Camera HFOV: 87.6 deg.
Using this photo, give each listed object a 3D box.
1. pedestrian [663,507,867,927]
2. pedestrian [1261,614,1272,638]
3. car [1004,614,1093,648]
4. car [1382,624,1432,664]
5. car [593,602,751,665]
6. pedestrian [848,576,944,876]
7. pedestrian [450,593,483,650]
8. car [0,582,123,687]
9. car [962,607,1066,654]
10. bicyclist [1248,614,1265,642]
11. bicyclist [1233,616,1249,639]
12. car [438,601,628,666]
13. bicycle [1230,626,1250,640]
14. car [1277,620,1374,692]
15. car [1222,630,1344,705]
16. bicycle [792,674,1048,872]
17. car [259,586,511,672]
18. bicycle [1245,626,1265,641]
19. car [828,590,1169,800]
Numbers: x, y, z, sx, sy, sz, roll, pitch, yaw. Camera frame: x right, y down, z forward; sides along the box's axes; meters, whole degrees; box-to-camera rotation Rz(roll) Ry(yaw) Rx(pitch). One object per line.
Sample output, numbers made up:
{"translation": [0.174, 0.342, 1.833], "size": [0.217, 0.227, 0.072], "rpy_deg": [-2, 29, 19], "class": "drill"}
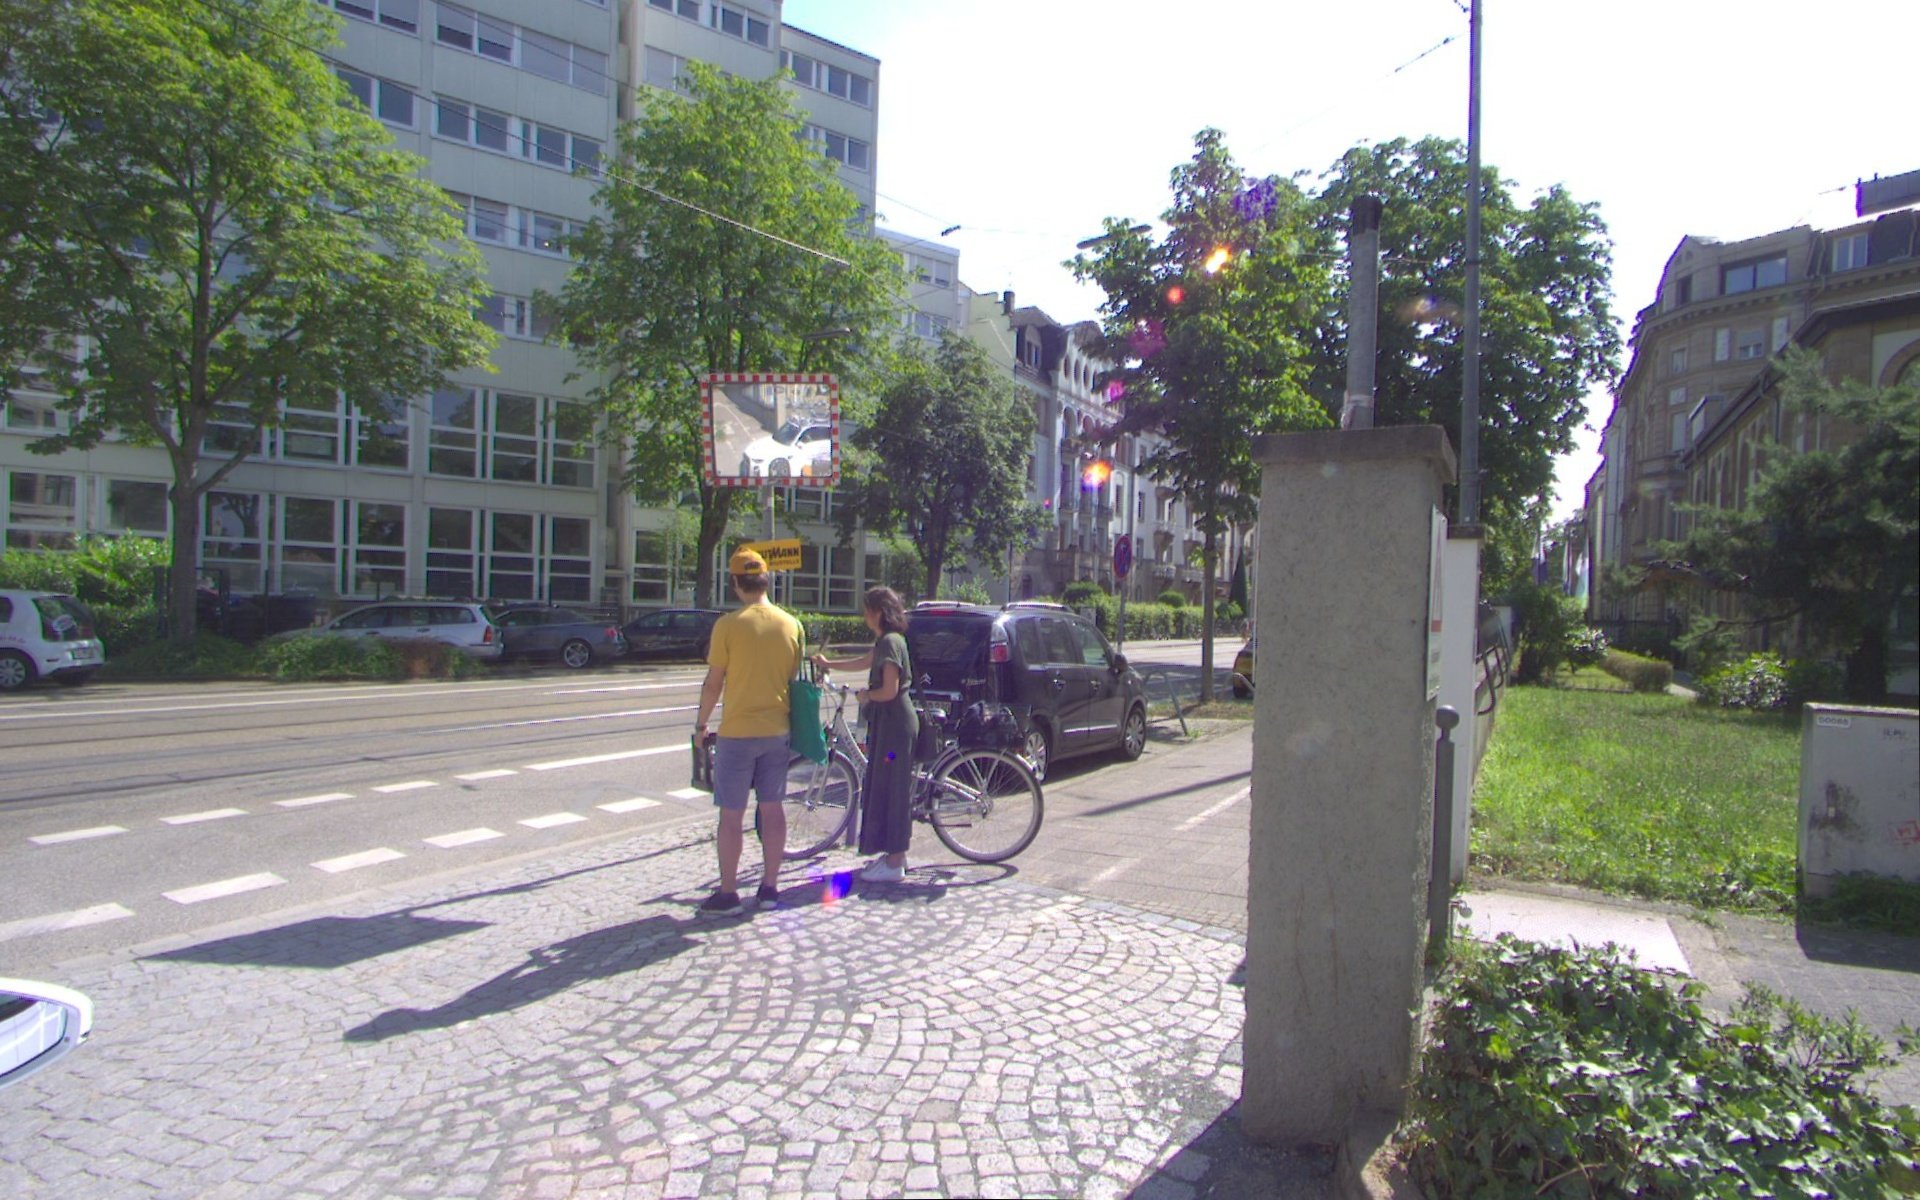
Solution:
{"translation": [-1.007, 0.545, 5.048], "size": [0.840, 1.889, 0.827], "rpy_deg": [2, 0, -21], "class": "pedestrian"}
{"translation": [24.973, 2.101, 81.518], "size": [0.680, 1.958, 0.785], "rpy_deg": [2, 0, 28], "class": "pedestrian"}
{"translation": [4.328, 1.514, 49.204], "size": [3.929, 1.528, 1.997], "rpy_deg": [2, -1, -16], "class": "car"}
{"translation": [20.842, 2.020, 46.627], "size": [1.828, 1.702, 3.984], "rpy_deg": [1, -1, 28], "class": "car"}
{"translation": [-7.559, 0.885, 26.454], "size": [3.875, 1.505, 1.556], "rpy_deg": [2, 0, -16], "class": "car"}
{"translation": [-0.360, 0.701, 5.743], "size": [0.445, 1.642, 0.422], "rpy_deg": [-1, -1, 12], "class": "pedestrian"}
{"translation": [-13.032, 0.557, 26.455], "size": [0.417, 1.480, 0.620], "rpy_deg": [2, 0, 27], "class": "pedestrian"}
{"translation": [-15.159, 0.484, 14.856], "size": [3.874, 1.505, 1.610], "rpy_deg": [1, 0, -15], "class": "car"}
{"translation": [2.286, 1.279, 42.545], "size": [3.935, 1.884, 1.993], "rpy_deg": [2, 0, -23], "class": "car"}
{"translation": [20.062, 1.892, 67.756], "size": [0.793, 1.825, 0.860], "rpy_deg": [2, 0, 33], "class": "bicyclist"}
{"translation": [19.149, 1.866, 68.232], "size": [0.793, 1.563, 0.860], "rpy_deg": [2, 0, 33], "class": "bicyclist"}
{"translation": [-9.896, 0.783, 23.495], "size": [3.875, 1.375, 1.556], "rpy_deg": [2, 0, -16], "class": "car"}
{"translation": [19.111, 2.274, 68.316], "size": [0.670, 0.929, 2.309], "rpy_deg": [2, 0, 32], "class": "bicycle"}
{"translation": [9.687, 1.409, 26.368], "size": [1.828, 1.702, 3.984], "rpy_deg": [1, -1, 28], "class": "car"}
{"translation": [7.188, 1.405, 22.054], "size": [1.828, 1.430, 3.985], "rpy_deg": [1, -1, 28], "class": "car"}
{"translation": [-0.240, 1.015, 6.068], "size": [1.484, 1.055, 0.363], "rpy_deg": [2, 0, 12], "class": "bicycle"}
{"translation": [-11.734, 0.628, 20.748], "size": [4.270, 1.625, 1.555], "rpy_deg": [2, -1, -19], "class": "car"}
{"translation": [20.024, 2.268, 67.938], "size": [0.670, 0.929, 2.309], "rpy_deg": [2, 0, 32], "class": "bicycle"}
{"translation": [0.607, 0.829, 10.416], "size": [1.829, 1.706, 3.981], "rpy_deg": [1, -1, 31], "class": "car"}
